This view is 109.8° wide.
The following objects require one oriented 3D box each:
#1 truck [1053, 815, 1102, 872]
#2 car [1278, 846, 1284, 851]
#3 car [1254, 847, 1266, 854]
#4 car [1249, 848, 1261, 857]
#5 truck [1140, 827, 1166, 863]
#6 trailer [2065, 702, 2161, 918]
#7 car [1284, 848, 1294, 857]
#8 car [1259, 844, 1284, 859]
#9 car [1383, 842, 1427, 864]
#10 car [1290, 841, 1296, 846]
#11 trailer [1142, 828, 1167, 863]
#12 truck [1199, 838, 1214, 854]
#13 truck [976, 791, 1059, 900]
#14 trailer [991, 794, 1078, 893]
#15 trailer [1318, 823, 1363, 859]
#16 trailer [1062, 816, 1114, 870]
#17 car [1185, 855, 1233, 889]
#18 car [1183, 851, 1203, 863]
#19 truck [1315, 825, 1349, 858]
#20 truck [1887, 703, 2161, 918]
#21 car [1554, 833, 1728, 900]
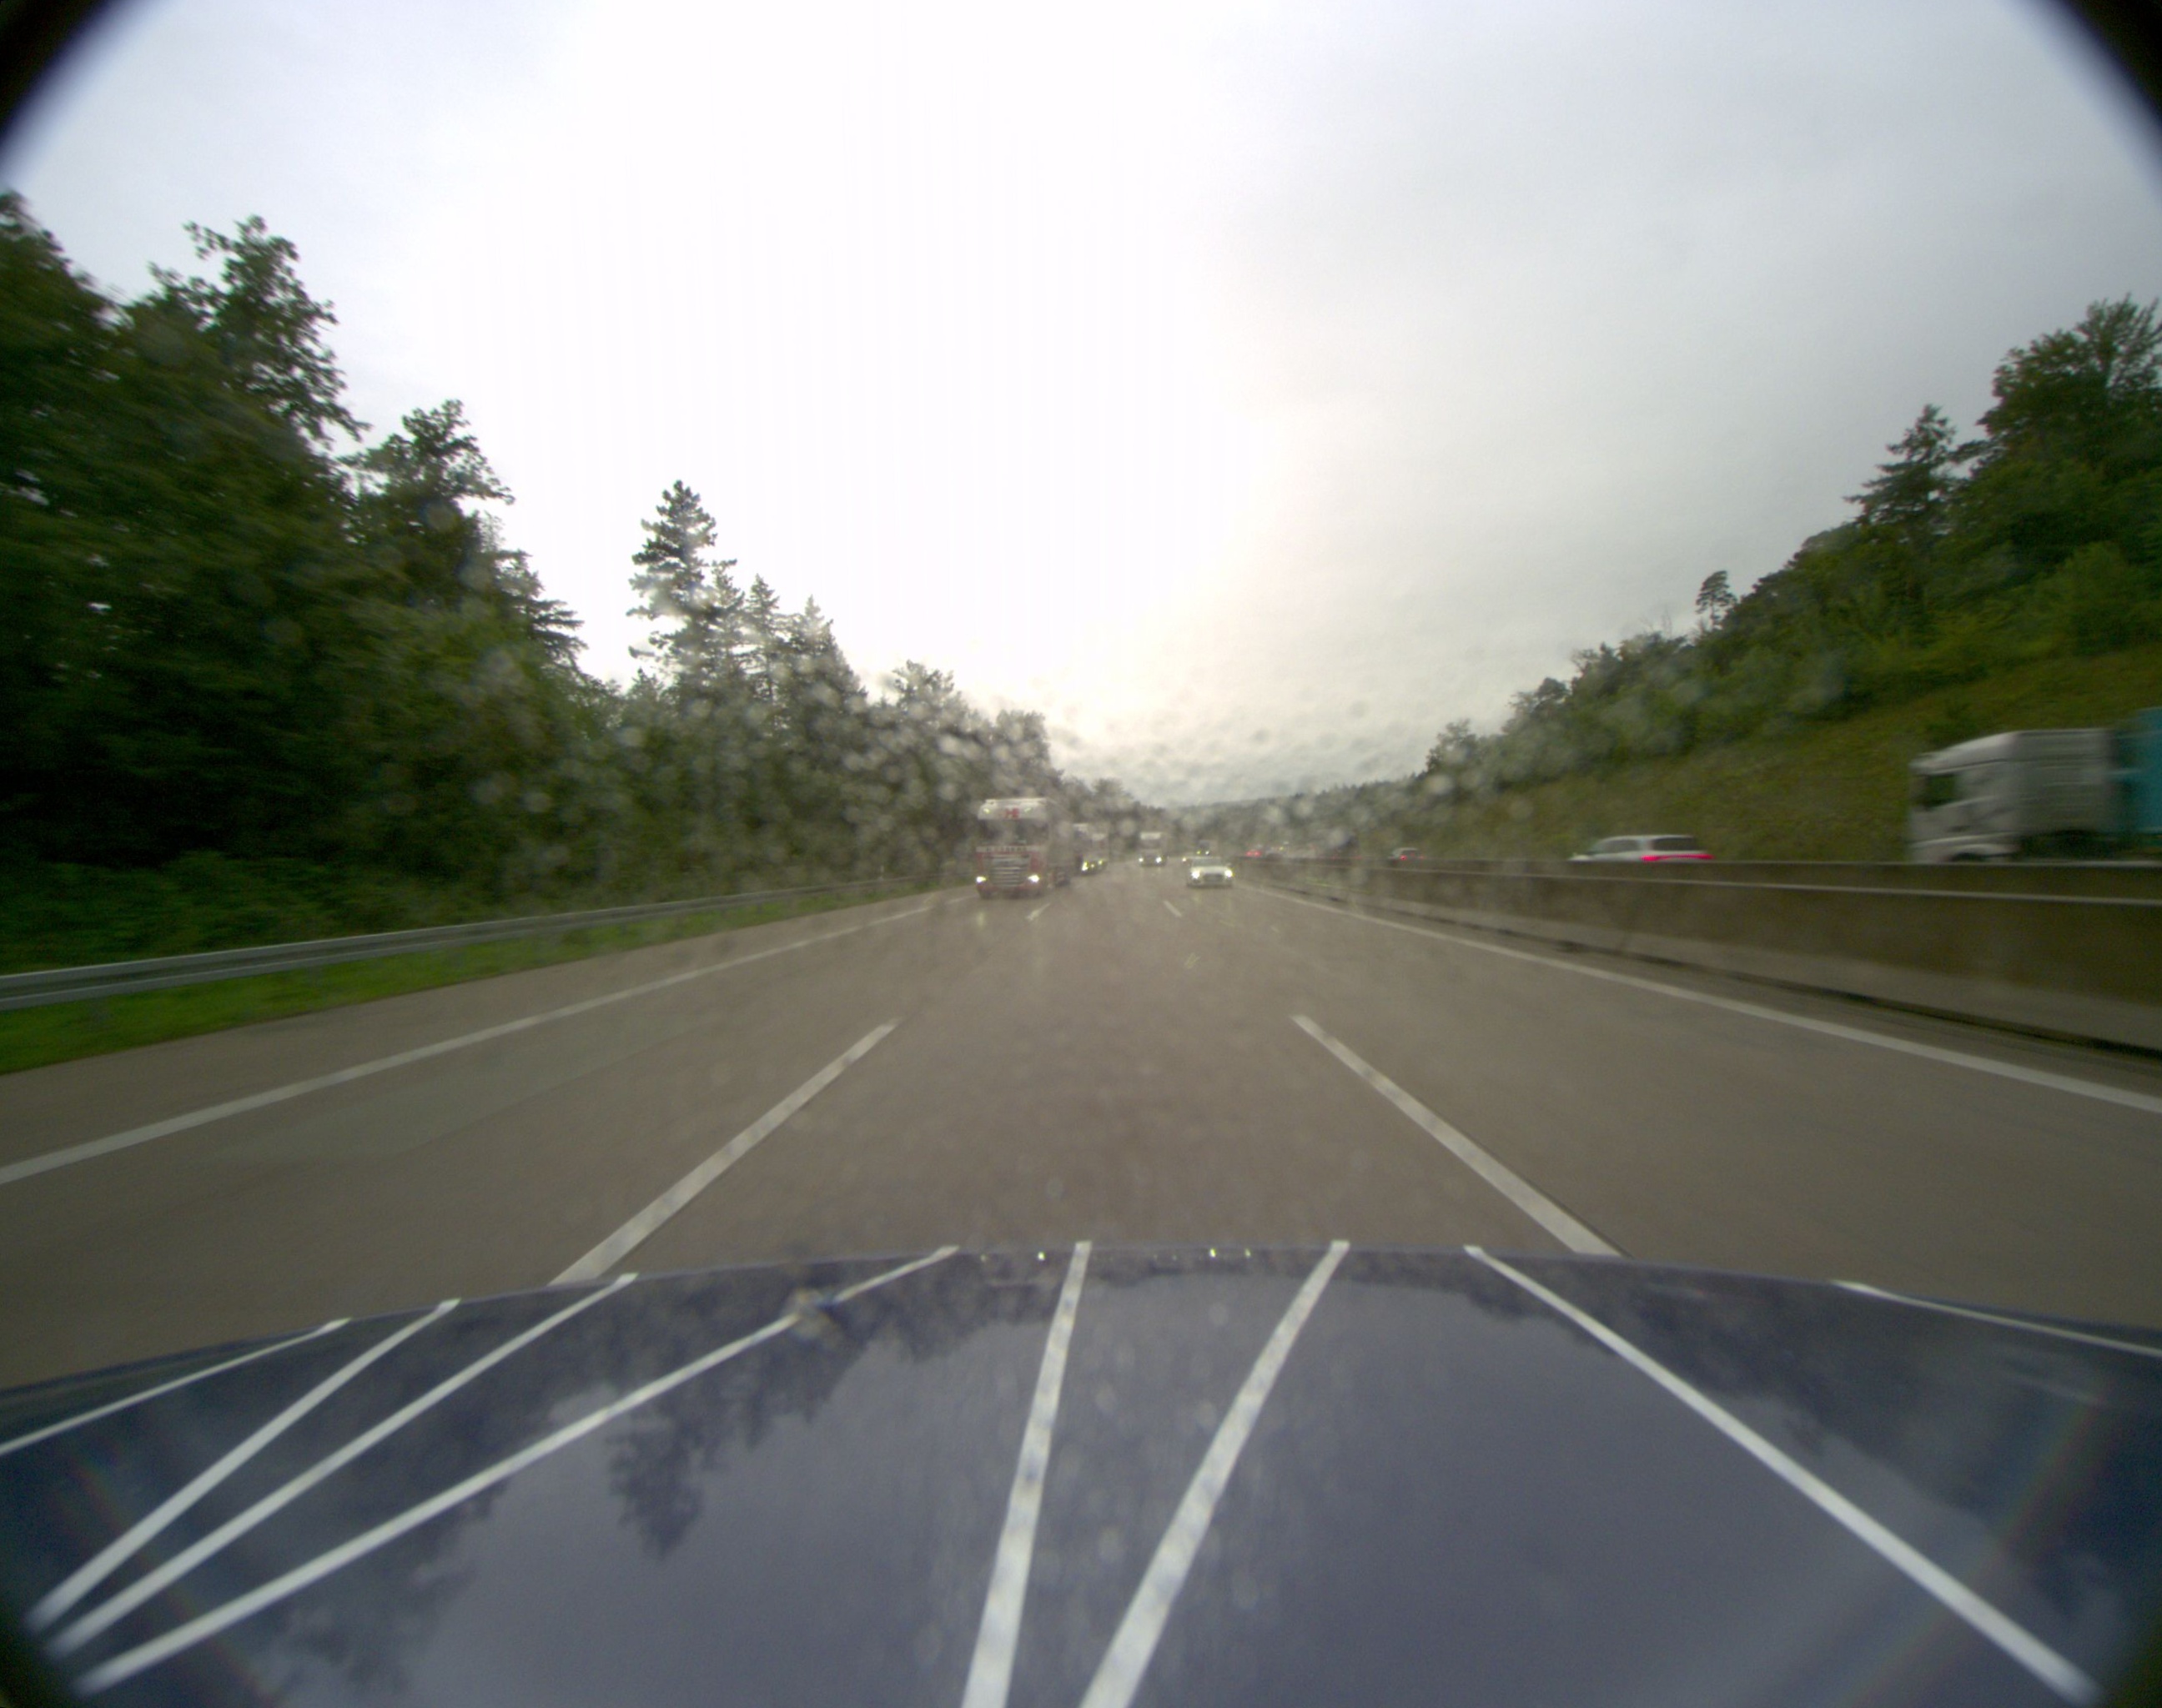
[{"bbox_3d":[-0.184,-0.800,58.260,2.804,4.080,5.970,-2,1,8],"label":"truck"},{"bbox_3d":[58.256,-1.619,221.278,1.744,1.552,4.288,-2,0,13],"label":"car"},{"bbox_3d":[39.935,-0.735,169.349,1.997,1.575,4.774,-1,0,7],"label":"car"},{"bbox_3d":[31.093,-0.256,135.863,1.997,1.575,4.776,-1,0,12],"label":"car"},{"bbox_3d":[8.703,-1.047,90.984,2.727,4.017,5.755,-4,0,7],"label":"truck"},{"bbox_3d":[20.753,-0.814,9.405,2.914,3.866,11.035,-2,0,1],"label":"trailer"},{"bbox_3d":[50.879,-0.378,185.874,1.997,2.002,4.003,-1,0,12],"label":"car"},{"bbox_3d":[18.889,-0.245,75.622,1.734,1.484,4.001,-1,0,4],"label":"car"},{"bbox_3d":[23.268,-0.058,54.753,1.734,1.484,4.001,-1,0,4],"label":"car"},{"bbox_3d":[62.177,-3.020,222.975,1.744,1.552,4.288,-1,1,14],"label":"car"},{"bbox_3d":[9.592,-1.067,98.285,2.685,4.017,13.711,-4,0,7],"label":"trailer"},{"bbox_3d":[33.028,-2.103,199.544,2.734,4.127,8.631,-2,0,15],"label":"truck"},{"bbox_3d":[-2.441,-0.311,31.099,2.380,3.931,6.161,-2,0,3],"label":"truck"},{"bbox_3d":[-1.914,-0.402,37.010,2.376,3.930,12.524,-2,0,4],"label":"trailer"},{"bbox_3d":[30.505,-1.504,89.911,2.932,3.937,13.473,-1,0,10],"label":"trailer"},{"bbox_3d":[0.802,-0.902,65.306,2.740,4.080,13.688,-2,1,7],"label":"trailer"},{"bbox_3d":[5.851,0.774,35.176,1.716,1.399,4.937,-2,0,4],"label":"car"},{"bbox_3d":[15.751,0.408,106.353,1.847,1.474,4.455,-2,0,20],"label":"car"},{"bbox_3d":[31.656,-1.559,96.177,2.932,3.937,8.123,-1,1,10],"label":"truck"},{"bbox_3d":[20.862,-0.823,14.620,2.914,3.866,7.364,-2,0,1],"label":"truck"},{"bbox_3d":[16.563,0.317,22.827,1.735,1.766,4.758,-1,0,0],"label":"car"}]
